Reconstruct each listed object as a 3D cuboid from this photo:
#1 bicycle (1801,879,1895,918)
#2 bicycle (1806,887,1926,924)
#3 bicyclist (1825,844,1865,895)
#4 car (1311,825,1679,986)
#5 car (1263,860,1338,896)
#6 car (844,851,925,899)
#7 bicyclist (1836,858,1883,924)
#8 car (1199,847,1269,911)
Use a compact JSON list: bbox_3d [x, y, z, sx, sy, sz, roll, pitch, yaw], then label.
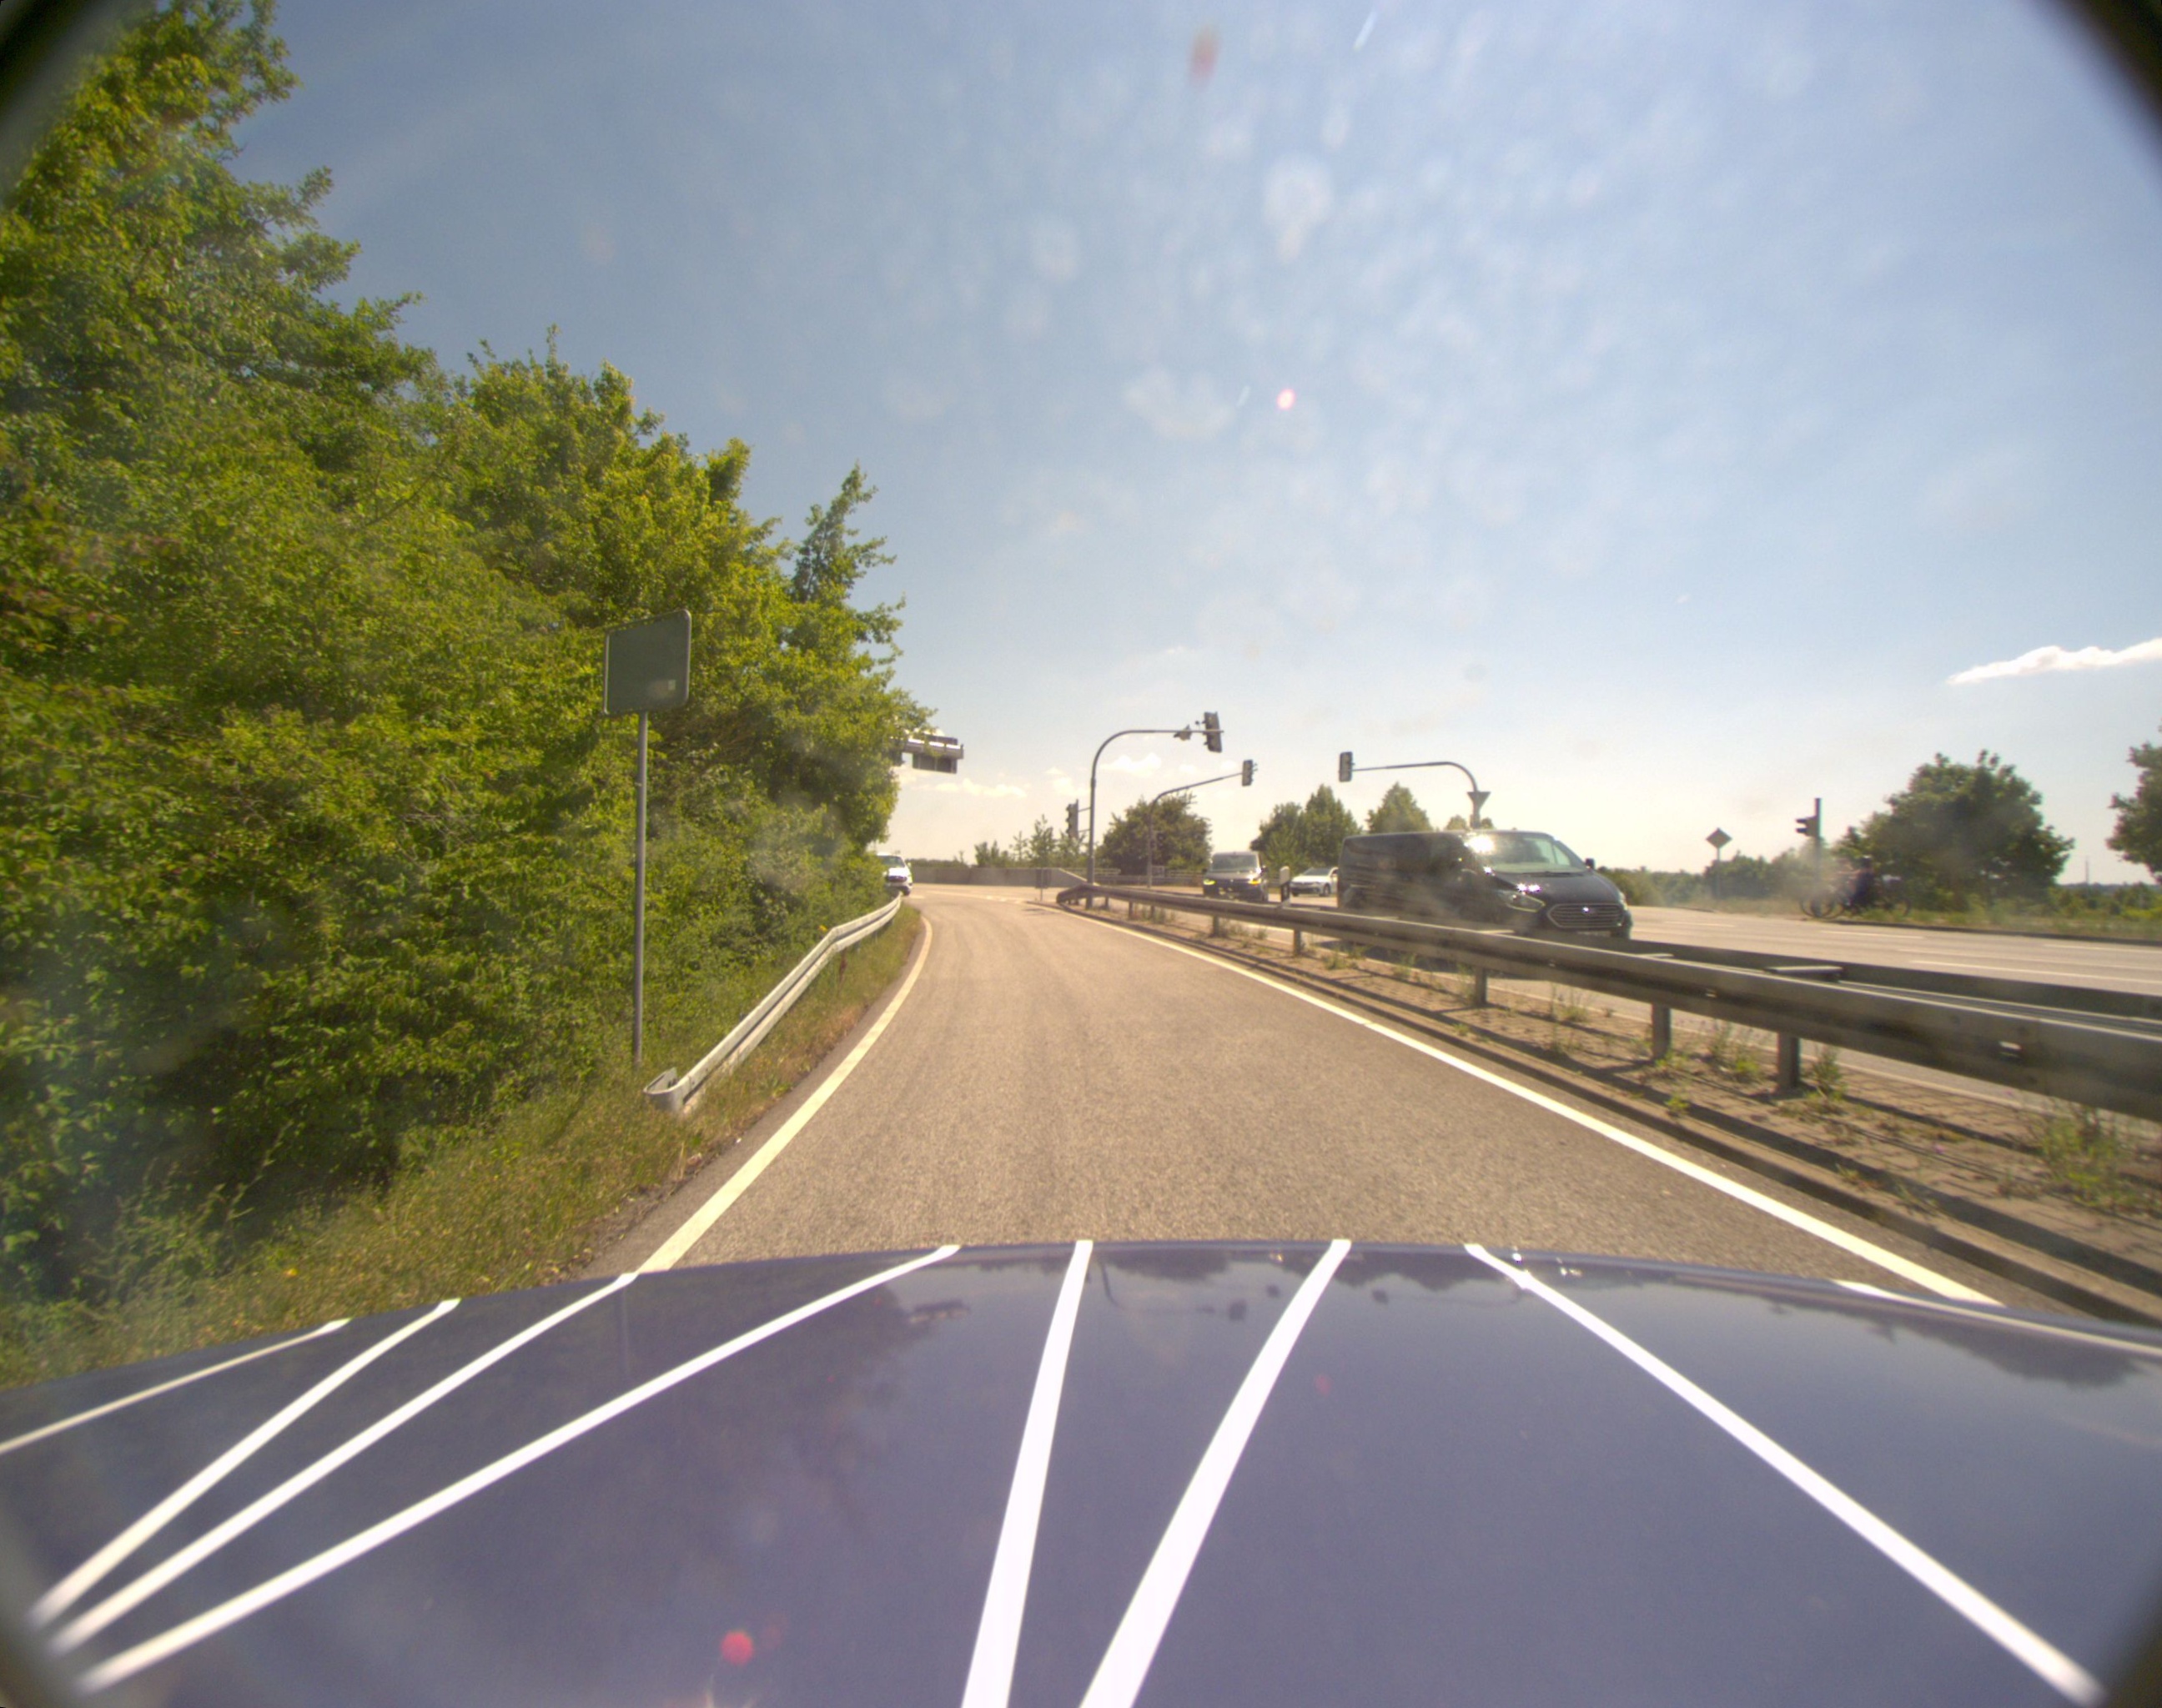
[{"bbox_3d":[21.477,1.227,21.316,0.415,1.019,1.828,-1,0,-26],"label":"bicycle"},{"bbox_3d":[20.515,1.314,19.911,0.536,0.848,2.122,-1,0,-27],"label":"bicycle"},{"bbox_3d":[21.450,0.423,21.335,0.409,1.396,0.683,-1,1,-27],"label":"bicyclist"},{"bbox_3d":[5.921,0.660,11.958,2.126,1.926,5.406,1,-1,-11],"label":"car"},{"bbox_3d":[10.086,1.065,34.722,1.681,1.515,4.009,2,0,41],"label":"car"},{"bbox_3d":[-9.640,0.936,36.875,2.035,2.073,5.856,-1,1,-33],"label":"car"},{"bbox_3d":[20.462,0.958,19.985,0.532,1.707,0.729,-1,0,-27],"label":"bicyclist"},{"bbox_3d":[5.265,0.791,25.737,1.941,1.907,4.539,2,0,15],"label":"car"}]
